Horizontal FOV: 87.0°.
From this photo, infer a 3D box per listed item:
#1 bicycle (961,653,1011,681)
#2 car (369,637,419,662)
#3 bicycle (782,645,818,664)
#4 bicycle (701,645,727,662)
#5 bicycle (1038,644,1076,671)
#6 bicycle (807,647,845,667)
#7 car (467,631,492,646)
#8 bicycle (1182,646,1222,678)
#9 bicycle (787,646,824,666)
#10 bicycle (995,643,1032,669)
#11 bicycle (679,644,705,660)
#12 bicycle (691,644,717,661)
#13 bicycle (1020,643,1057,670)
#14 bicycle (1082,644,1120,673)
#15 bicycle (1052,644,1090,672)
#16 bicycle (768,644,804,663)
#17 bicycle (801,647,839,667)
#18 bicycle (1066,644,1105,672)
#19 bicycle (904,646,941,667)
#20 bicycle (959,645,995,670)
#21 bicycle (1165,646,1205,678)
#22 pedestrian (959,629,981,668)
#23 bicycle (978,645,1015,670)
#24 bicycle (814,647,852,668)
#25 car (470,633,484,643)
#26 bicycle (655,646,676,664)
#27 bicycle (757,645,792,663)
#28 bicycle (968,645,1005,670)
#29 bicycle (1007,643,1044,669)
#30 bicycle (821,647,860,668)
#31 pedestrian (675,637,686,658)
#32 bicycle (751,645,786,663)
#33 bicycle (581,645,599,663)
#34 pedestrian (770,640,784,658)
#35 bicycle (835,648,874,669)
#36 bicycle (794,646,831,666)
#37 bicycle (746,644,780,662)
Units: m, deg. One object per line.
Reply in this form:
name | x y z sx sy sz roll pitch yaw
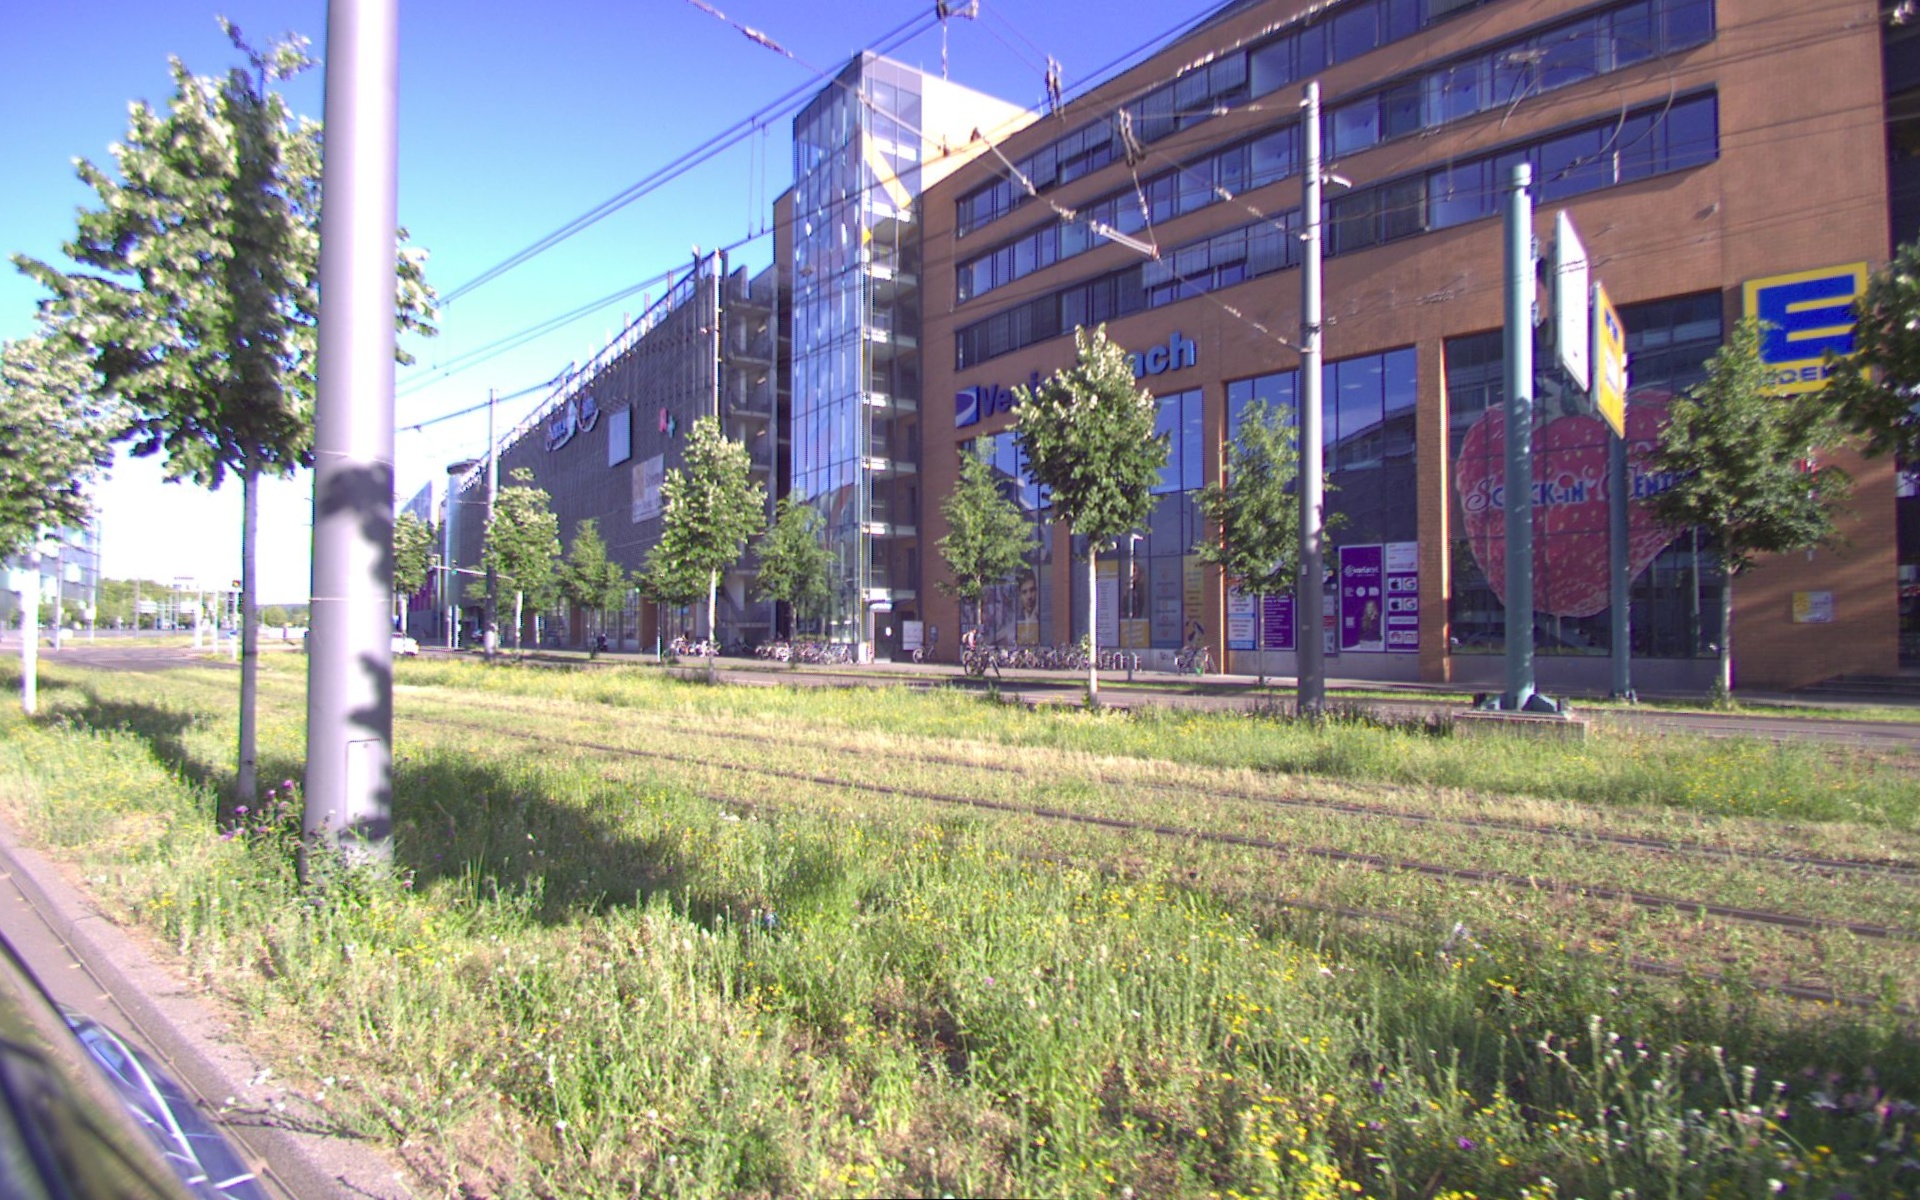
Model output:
bicycle | 0.842 2.213 33.585 1.770 0.875 0.458 -2 -2 40
car | -31.939 2.748 57.057 1.783 1.338 4.413 2 -3 -38
bicycle | -8.000 2.734 50.712 1.742 0.933 0.492 1 -2 -35
bicycle | -13.940 3.009 57.368 1.377 0.933 0.463 1 -2 -35
bicycle | 3.899 2.291 40.513 1.745 1.057 0.491 2 -3 -44
bicycle | -6.384 2.718 48.413 1.742 0.933 0.566 1 -2 -35
car | -51.345 4.082 108.071 1.560 1.541 3.757 0 -1 -39
bicycle | 8.431 2.141 35.254 1.745 1.057 0.491 2 -3 -44
bicycle | -7.656 2.757 50.141 1.742 0.933 0.566 1 -2 -35
bicycle | 2.257 2.340 42.666 1.745 1.057 0.491 2 -3 -44
bicycle | -15.713 3.055 59.393 1.377 0.933 0.463 1 -2 -35
bicycle | -14.801 3.035 58.543 1.377 0.933 0.463 1 -2 -35
bicycle | 3.229 2.314 41.626 1.745 1.057 0.491 2 -3 -44
bicycle | 5.432 2.250 38.909 1.745 1.057 0.491 2 -3 -44
bicycle | 4.420 2.278 40.055 1.745 1.057 0.491 2 -3 -44
bicycle | -8.905 2.728 51.828 1.742 0.933 0.492 1 -2 -35
bicycle | -6.777 2.731 48.968 1.742 0.933 0.566 1 -2 -35
bicycle | 4.905 2.265 39.522 1.745 1.057 0.491 2 -3 -44
bicycle | -1.754 2.657 47.593 1.742 0.933 0.566 1 -2 -35
bicycle | 0.759 2.489 44.170 1.745 1.057 0.491 2 -3 -44
bicycle | 7.952 2.175 35.695 1.745 1.057 0.491 2 -3 -44
pedestrian | 0.448 2.129 44.721 0.736 1.681 0.676 2 -3 -45
bicycle | 1.559 2.457 43.355 1.745 1.057 0.491 2 -3 -44
bicycle | -5.991 2.706 47.825 1.742 0.933 0.566 1 -2 -35
car | -66.139 5.164 138.626 1.663 1.382 3.602 1 -2 -26
bicycle | -15.213 2.847 52.244 0.380 0.875 1.775 1 -2 -38
bicycle | -9.667 2.818 52.806 1.742 0.933 0.566 1 -2 -35
bicycle | 1.162 2.479 43.762 1.745 1.057 0.491 2 -3 -44
bicycle | 2.722 2.327 42.175 1.745 1.057 0.491 2 -3 -44
bicycle | -5.552 2.691 47.136 1.742 0.933 0.566 1 -2 -35
pedestrian | -16.789 2.851 60.763 0.442 1.299 0.631 1 -2 -38
bicycle | -10.084 2.830 53.342 1.742 0.933 0.492 1 -2 -35
bicycle | -19.987 2.900 54.699 0.380 0.930 1.775 1 -2 -38
pedestrian | -10.639 2.838 58.810 0.620 1.063 0.450 1 -2 -38
bicycle | -4.827 2.672 46.364 1.742 0.933 0.566 1 -2 -35
bicycle | -7.217 2.744 49.525 1.742 0.933 0.566 1 -2 -35
bicycle | -10.503 2.817 53.907 1.742 0.933 0.492 1 -2 -35
